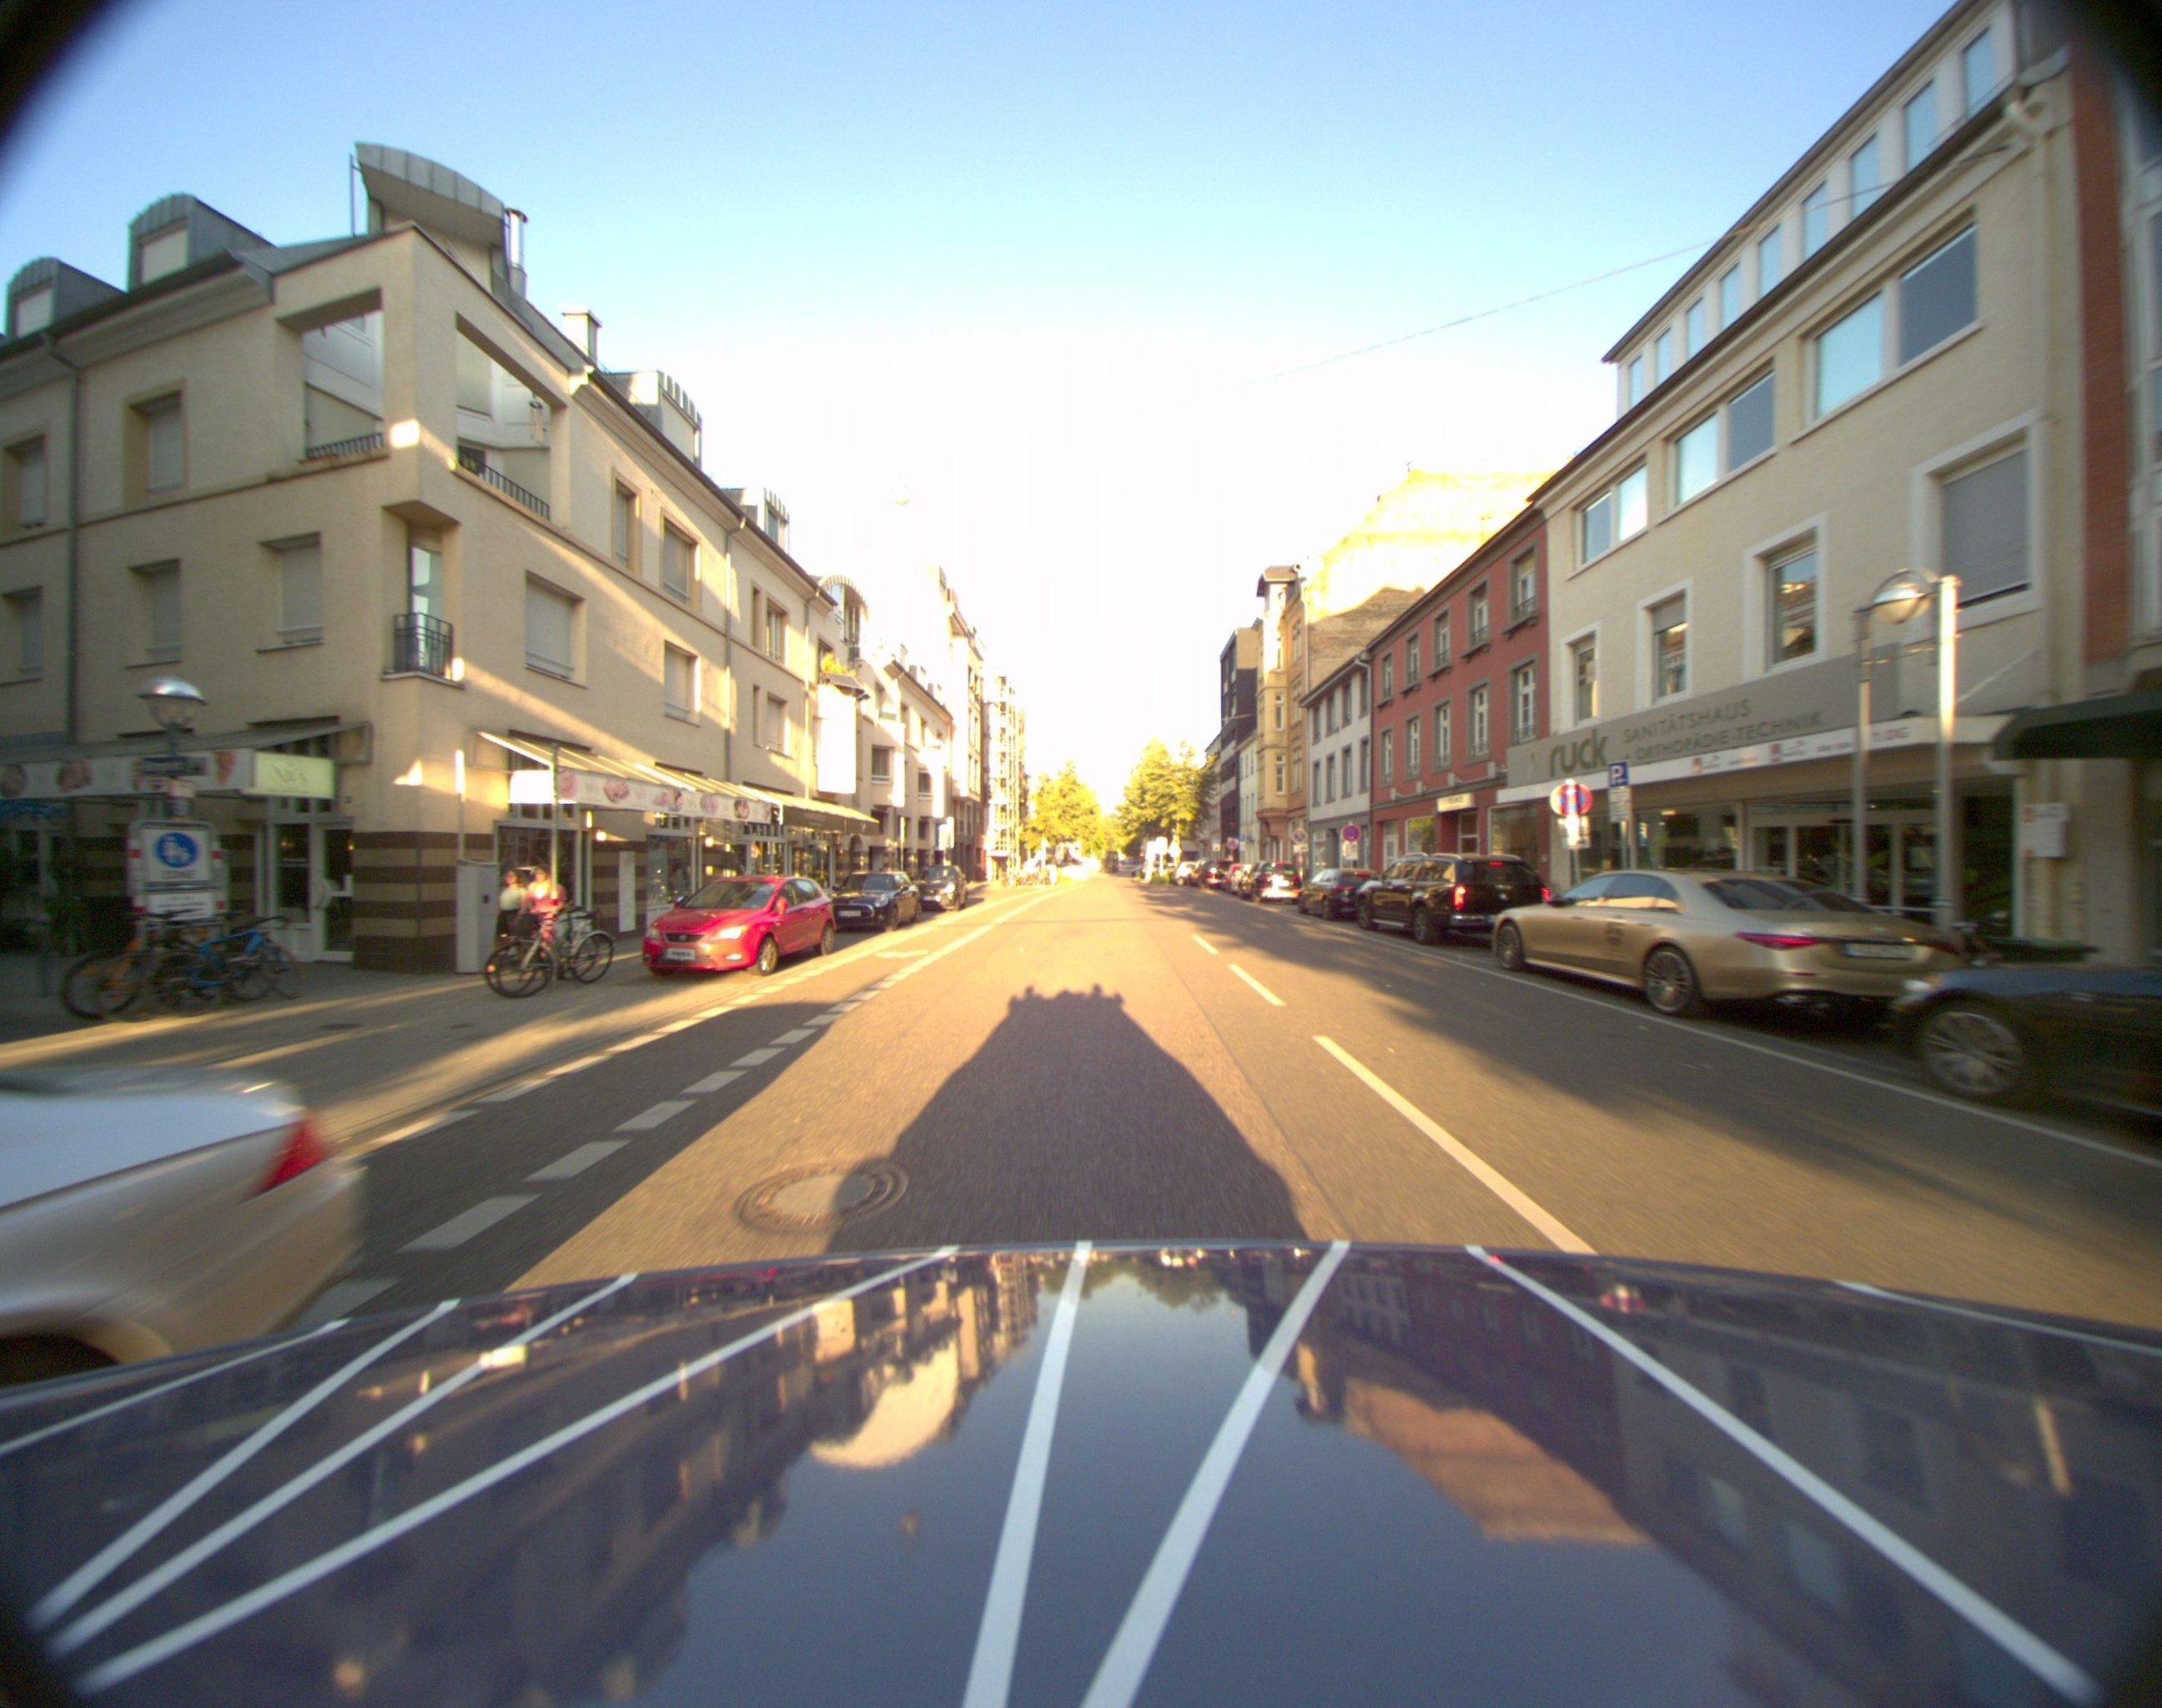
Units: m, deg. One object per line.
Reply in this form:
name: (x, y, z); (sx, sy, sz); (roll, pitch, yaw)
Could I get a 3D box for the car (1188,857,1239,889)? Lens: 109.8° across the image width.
car: (7.577, 1.034, 43.835); (2.055, 1.742, 4.217); (1, 0, -1)

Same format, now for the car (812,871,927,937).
car: (-5.156, 1.173, 19.022); (1.727, 1.413, 3.749); (1, 0, 1)

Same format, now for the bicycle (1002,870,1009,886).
bicycle: (-4.784, 1.514, 48.254); (0.470, 0.952, 1.918); (0, 0, -5)

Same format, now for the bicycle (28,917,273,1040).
bicycle: (-9.870, 1.264, 8.182); (0.392, 1.027, 1.844); (0, 0, -1)

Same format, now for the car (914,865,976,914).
car: (-4.615, 1.163, 26.099); (1.571, 1.540, 2.803); (1, 0, 1)

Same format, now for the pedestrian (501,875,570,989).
pedestrian: (-7.562, 1.061, 10.547); (0.541, 1.521, 0.555); (0, 0, 7)

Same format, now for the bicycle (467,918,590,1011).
bicycle: (-6.956, 1.354, 9.659); (0.392, 0.951, 1.639); (0, 0, -1)

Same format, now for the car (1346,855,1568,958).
car: (7.460, 0.928, 15.847); (1.998, 1.759, 5.299); (1, 0, 0)

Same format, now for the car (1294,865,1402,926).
car: (7.530, 1.107, 21.892); (1.770, 1.502, 4.218); (1, 0, 3)

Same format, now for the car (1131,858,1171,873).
car: (8.109, 1.309, 88.075); (4.197, 1.618, 2.053); (1, 0, -16)

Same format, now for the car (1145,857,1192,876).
car: (8.143, 1.184, 70.814); (4.132, 1.666, 1.996); (1, 0, -2)

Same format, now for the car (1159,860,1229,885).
car: (7.396, 1.189, 50.004); (4.192, 1.572, 2.056); (1, 0, -3)

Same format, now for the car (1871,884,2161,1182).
car: (6.592, 0.972, 3.120); (1.919, 1.502, 4.639); (1, 0, 2)

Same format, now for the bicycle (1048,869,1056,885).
bicycle: (-1.847, 1.467, 48.680); (0.470, 0.952, 1.918); (0, 0, -3)

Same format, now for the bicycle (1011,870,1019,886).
bicycle: (-4.190, 1.520, 48.145); (0.470, 0.952, 1.918); (0, 0, -3)

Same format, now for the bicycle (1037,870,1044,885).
bicycle: (-2.599, 1.492, 48.584); (0.470, 0.952, 1.918); (0, 0, -3)

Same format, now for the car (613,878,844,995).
car: (-5.335, 1.167, 12.150); (1.727, 1.413, 4.032); (1, 0, 1)

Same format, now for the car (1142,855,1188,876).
car: (8.372, 1.153, 75.952); (4.192, 1.971, 2.056); (1, 0, -3)

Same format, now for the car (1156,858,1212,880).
car: (7.765, 1.154, 57.661); (3.911, 1.572, 1.959); (1, 0, -3)

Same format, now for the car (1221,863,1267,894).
car: (8.314, 1.209, 39.028); (1.689, 1.455, 3.543); (1, 0, 3)

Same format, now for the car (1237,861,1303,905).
car: (7.535, 1.106, 30.650); (1.770, 1.604, 4.218); (1, 0, 3)

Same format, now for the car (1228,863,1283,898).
car: (7.977, 1.176, 35.053); (1.770, 1.455, 3.868); (1, 0, 3)

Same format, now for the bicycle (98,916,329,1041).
bicycle: (-9.192, 1.261, 8.172); (0.392, 1.044, 1.844); (0, 0, -1)

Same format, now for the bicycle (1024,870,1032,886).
bicycle: (-3.404, 1.518, 48.442); (0.470, 0.952, 1.918); (0, 0, -3)

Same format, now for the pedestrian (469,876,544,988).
pedestrian: (-8.169, 1.086, 10.816); (0.541, 1.521, 0.651); (0, 0, 7)

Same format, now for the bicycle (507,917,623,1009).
bicycle: (-6.512, 1.340, 9.679); (0.392, 0.950, 1.615); (0, 0, -1)

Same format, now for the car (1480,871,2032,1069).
car: (6.891, 1.010, 8.818); (1.998, 1.502, 5.114); (1, 0, 3)
